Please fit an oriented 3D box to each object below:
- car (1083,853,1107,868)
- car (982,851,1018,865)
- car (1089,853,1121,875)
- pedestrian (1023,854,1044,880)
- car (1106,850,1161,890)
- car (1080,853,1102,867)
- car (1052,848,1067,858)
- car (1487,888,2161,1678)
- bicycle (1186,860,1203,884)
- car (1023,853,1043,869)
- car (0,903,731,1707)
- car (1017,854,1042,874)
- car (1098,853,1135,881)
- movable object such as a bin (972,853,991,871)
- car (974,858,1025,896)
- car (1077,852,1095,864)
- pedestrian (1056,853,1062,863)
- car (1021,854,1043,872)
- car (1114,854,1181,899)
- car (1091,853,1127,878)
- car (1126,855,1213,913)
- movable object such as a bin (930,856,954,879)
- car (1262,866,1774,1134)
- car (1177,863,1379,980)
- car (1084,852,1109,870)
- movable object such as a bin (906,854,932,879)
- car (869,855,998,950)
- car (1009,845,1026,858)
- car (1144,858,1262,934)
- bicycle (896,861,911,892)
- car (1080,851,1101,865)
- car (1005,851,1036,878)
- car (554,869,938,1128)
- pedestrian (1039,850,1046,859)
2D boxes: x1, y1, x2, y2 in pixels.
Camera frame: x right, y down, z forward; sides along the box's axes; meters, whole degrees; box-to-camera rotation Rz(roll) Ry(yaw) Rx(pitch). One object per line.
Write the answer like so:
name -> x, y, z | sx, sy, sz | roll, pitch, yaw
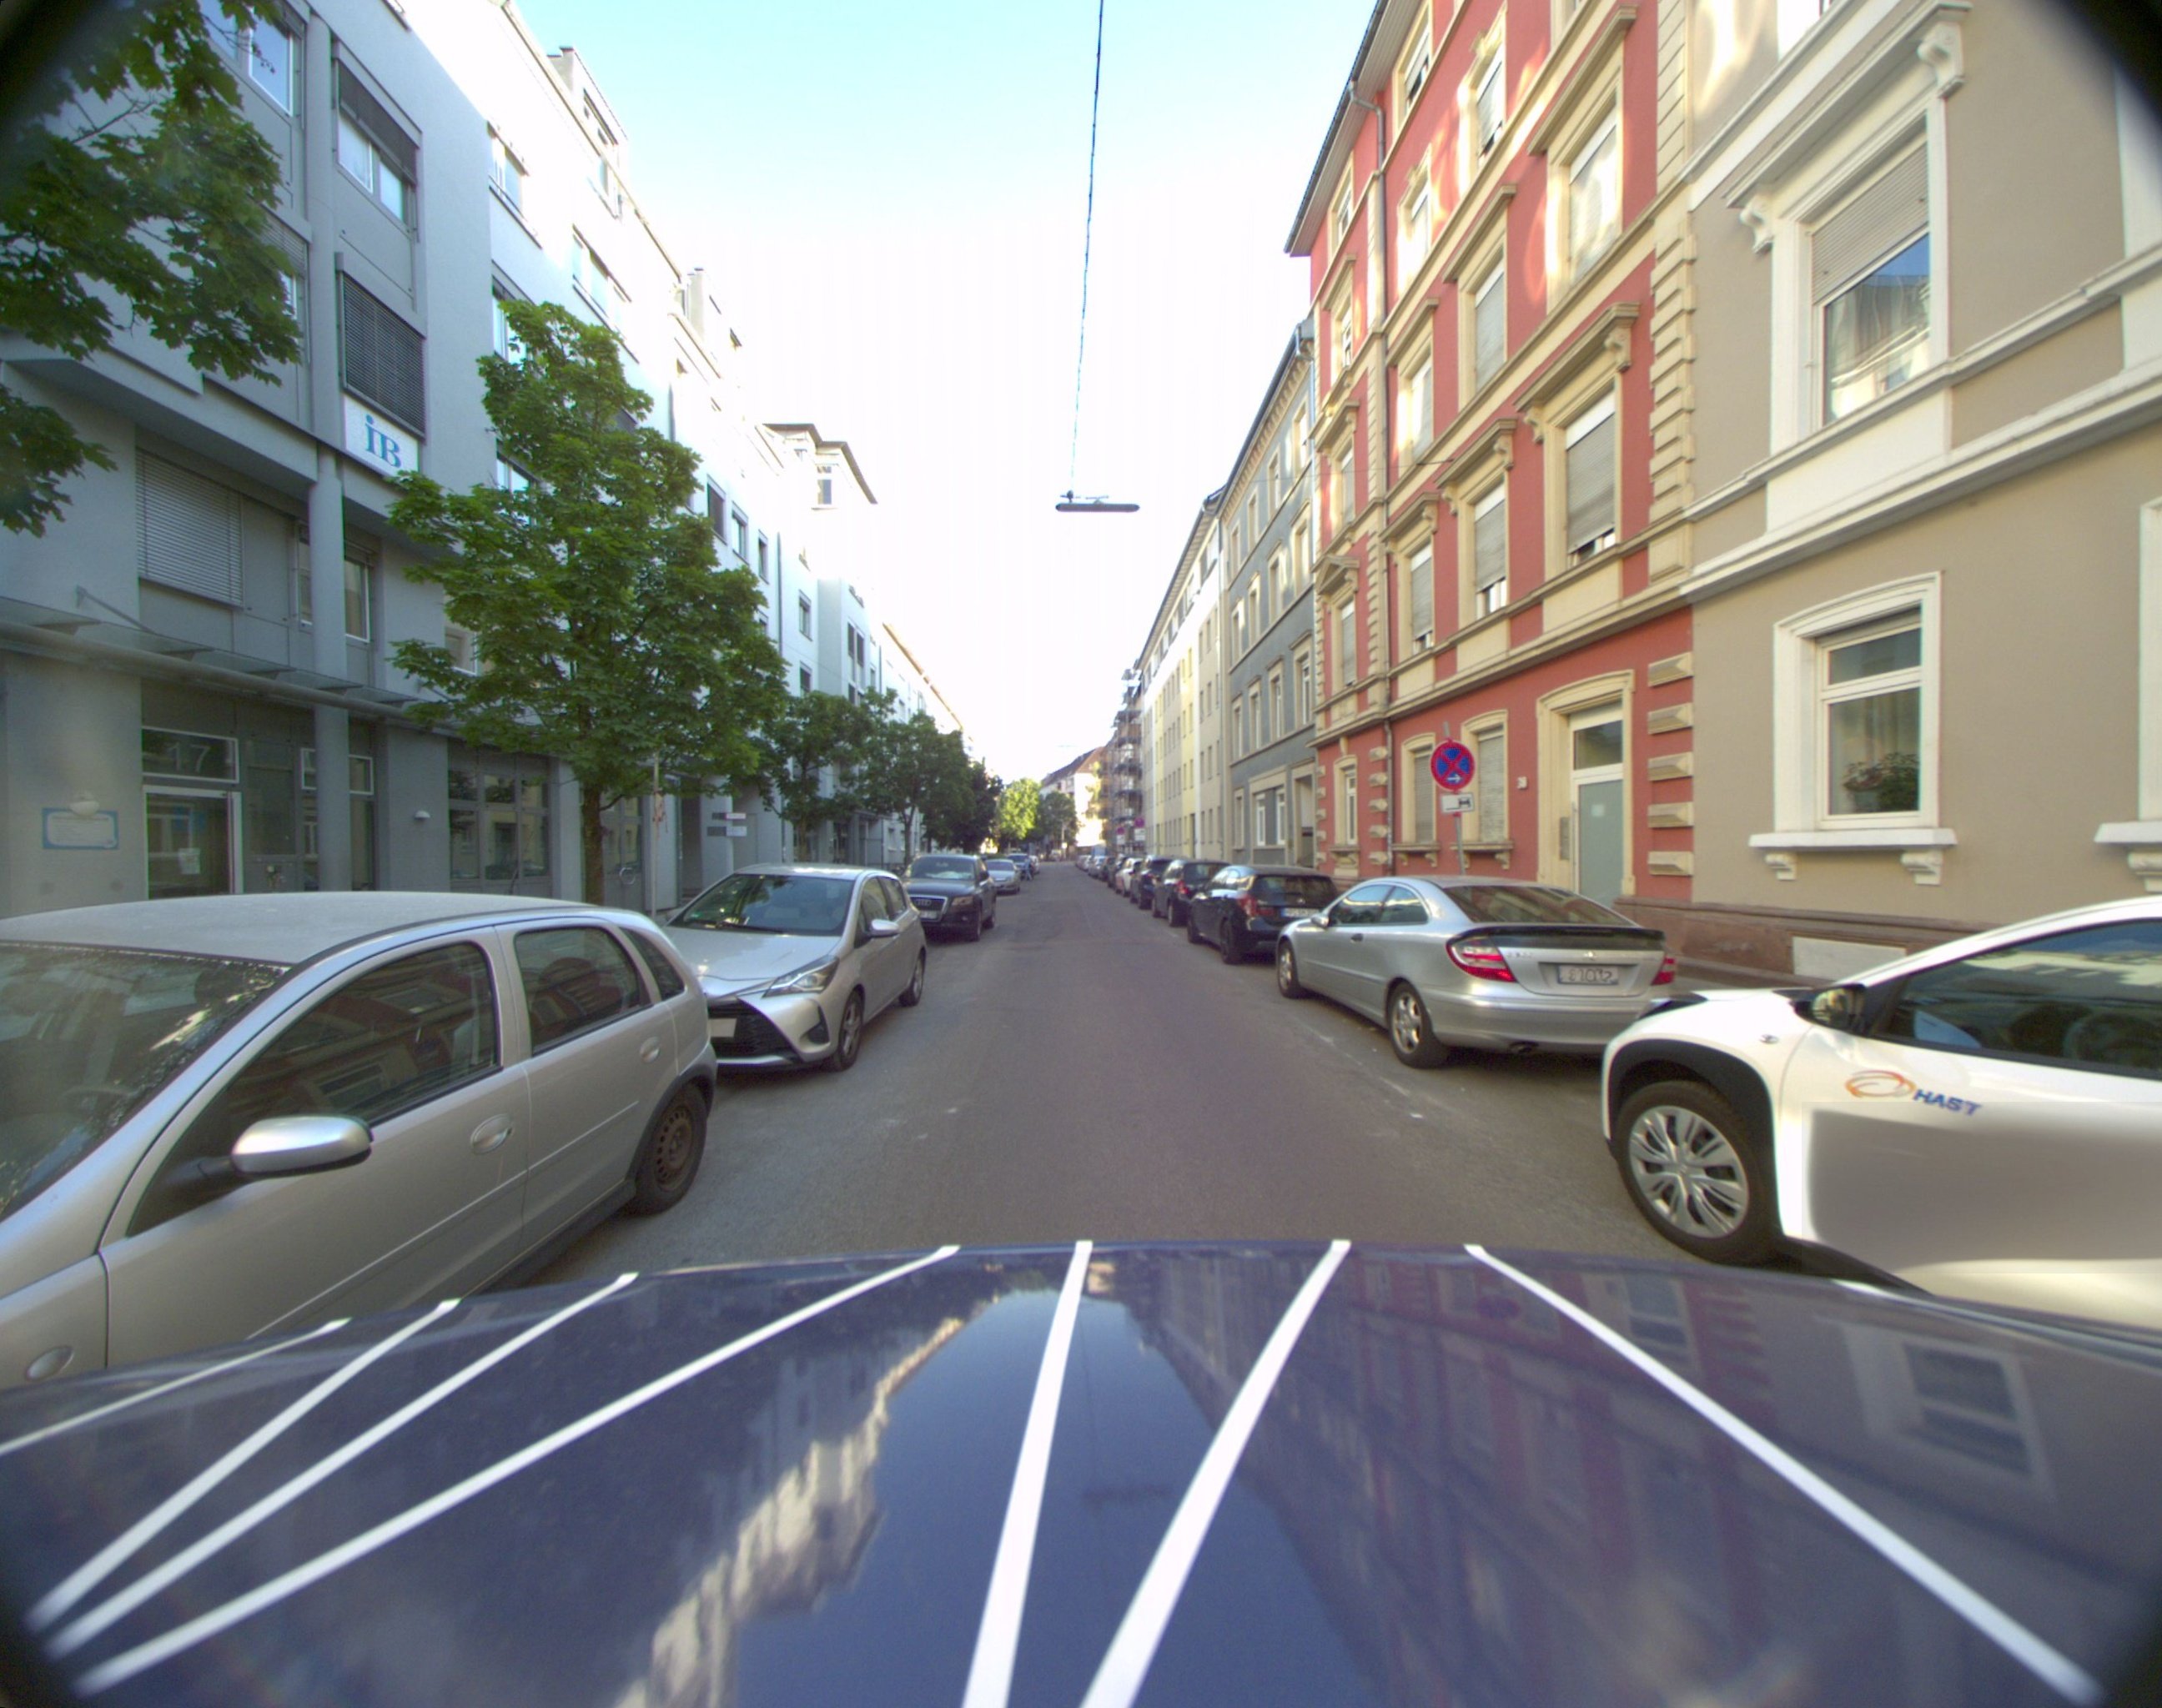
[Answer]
car -> 1.301, 0.606, 73.761 | 1.999, 1.439, 3.998 | 1, 0, -3
car -> -9.301, 0.493, 87.764 | 3.998, 1.556, 1.999 | 1, 1, -4
car -> 1.675, 0.670, 54.489 | 1.928, 1.480, 4.615 | 1, 0, -3
pedestrian -> -2.731, 0.717, 43.639 | 0.868, 1.455, 0.803 | 1, 1, 23
car -> 2.302, 0.683, 34.215 | 1.926, 1.654, 4.467 | 1, 0, -3
car -> 1.054, 0.613, 79.070 | 1.999, 1.423, 3.998 | 1, 0, -3
car -> -3.809, -0.191, 131.651 | 2.081, 1.760, 4.214 | 1, 0, -8
car -> 3.171, 0.946, 1.954 | 1.925, 1.498, 4.267 | 1, 0, 0
bicycle -> 5.280, 0.819, 35.514 | 0.451, 1.068, 1.751 | -2, 1, -1
car -> -4.405, 0.636, 70.463 | 1.681, 1.411, 4.134 | 1, 0, -2
car -> -2.598, 1.000, 1.870 | 1.680, 1.467, 3.729 | 1, 0, 1
car -> -3.998, 0.753, 59.333 | 1.680, 1.474, 3.652 | 1, 0, 1
car -> 2.040, 0.712, 44.272 | 1.784, 1.480, 4.419 | 1, 0, -2
movable object such as a bin -> -7.776, 0.609, 59.448 | 1.288, 1.428, 1.223 | 0, 1, -2
car -> -3.380, 0.900, 32.060 | 1.768, 1.421, 4.343 | 1, 0, -2
car -> 0.619, 0.507, 95.062 | 1.999, 1.462, 3.998 | 1, 0, -3
pedestrian -> -3.228, 0.629, 110.700 | 0.749, 1.455, 0.802 | -2, 1, -2
car -> -4.099, 0.727, 64.282 | 1.681, 1.411, 4.135 | 1, 0, -2
car -> 2.430, 0.793, 28.838 | 1.926, 1.551, 4.266 | 1, 0, -3
car -> 1.747, 0.684, 49.121 | 1.928, 1.480, 4.616 | 1, 0, -2
car -> 2.559, 0.832, 22.937 | 1.926, 1.551, 4.266 | 1, 0, -3
movable object such as a bin -> -8.229, 0.770, 44.990 | 1.265, 1.313, 1.138 | 0, 1, -2
car -> 3.181, 0.929, 6.755 | 1.926, 1.551, 4.266 | 1, 0, -3
car -> 2.875, 0.919, 12.149 | 1.926, 1.475, 4.266 | 1, 0, -3
car -> 1.383, 0.593, 68.933 | 1.999, 1.496, 3.998 | 1, 0, -3
movable object such as a bin -> -9.528, 0.711, 44.698 | 1.265, 1.428, 1.138 | 0, 1, -2
car -> -2.838, 0.861, 15.589 | 1.890, 1.613, 4.433 | 1, 0, -2
car -> -11.736, -0.503, 140.155 | 2.163, 2.270, 6.199 | 1, 0, -15
car -> 2.747, 0.889, 18.122 | 1.906, 1.551, 4.239 | 1, 0, -3
bicycle -> -7.058, 0.879, 30.234 | 0.522, 1.161, 1.738 | 1, 1, -12
car -> 1.010, 0.407, 84.490 | 1.999, 1.423, 3.998 | 1, 0, -3
car -> -3.820, 0.642, 48.730 | 1.876, 1.626, 4.720 | 1, 0, -3
car -> -2.485, 0.951, 6.776 | 1.681, 1.516, 3.970 | 1, 0, 0
pedestrian -> -6.340, 0.127, 126.597 | 0.803, 1.455, 0.868 | -2, 1, -32
